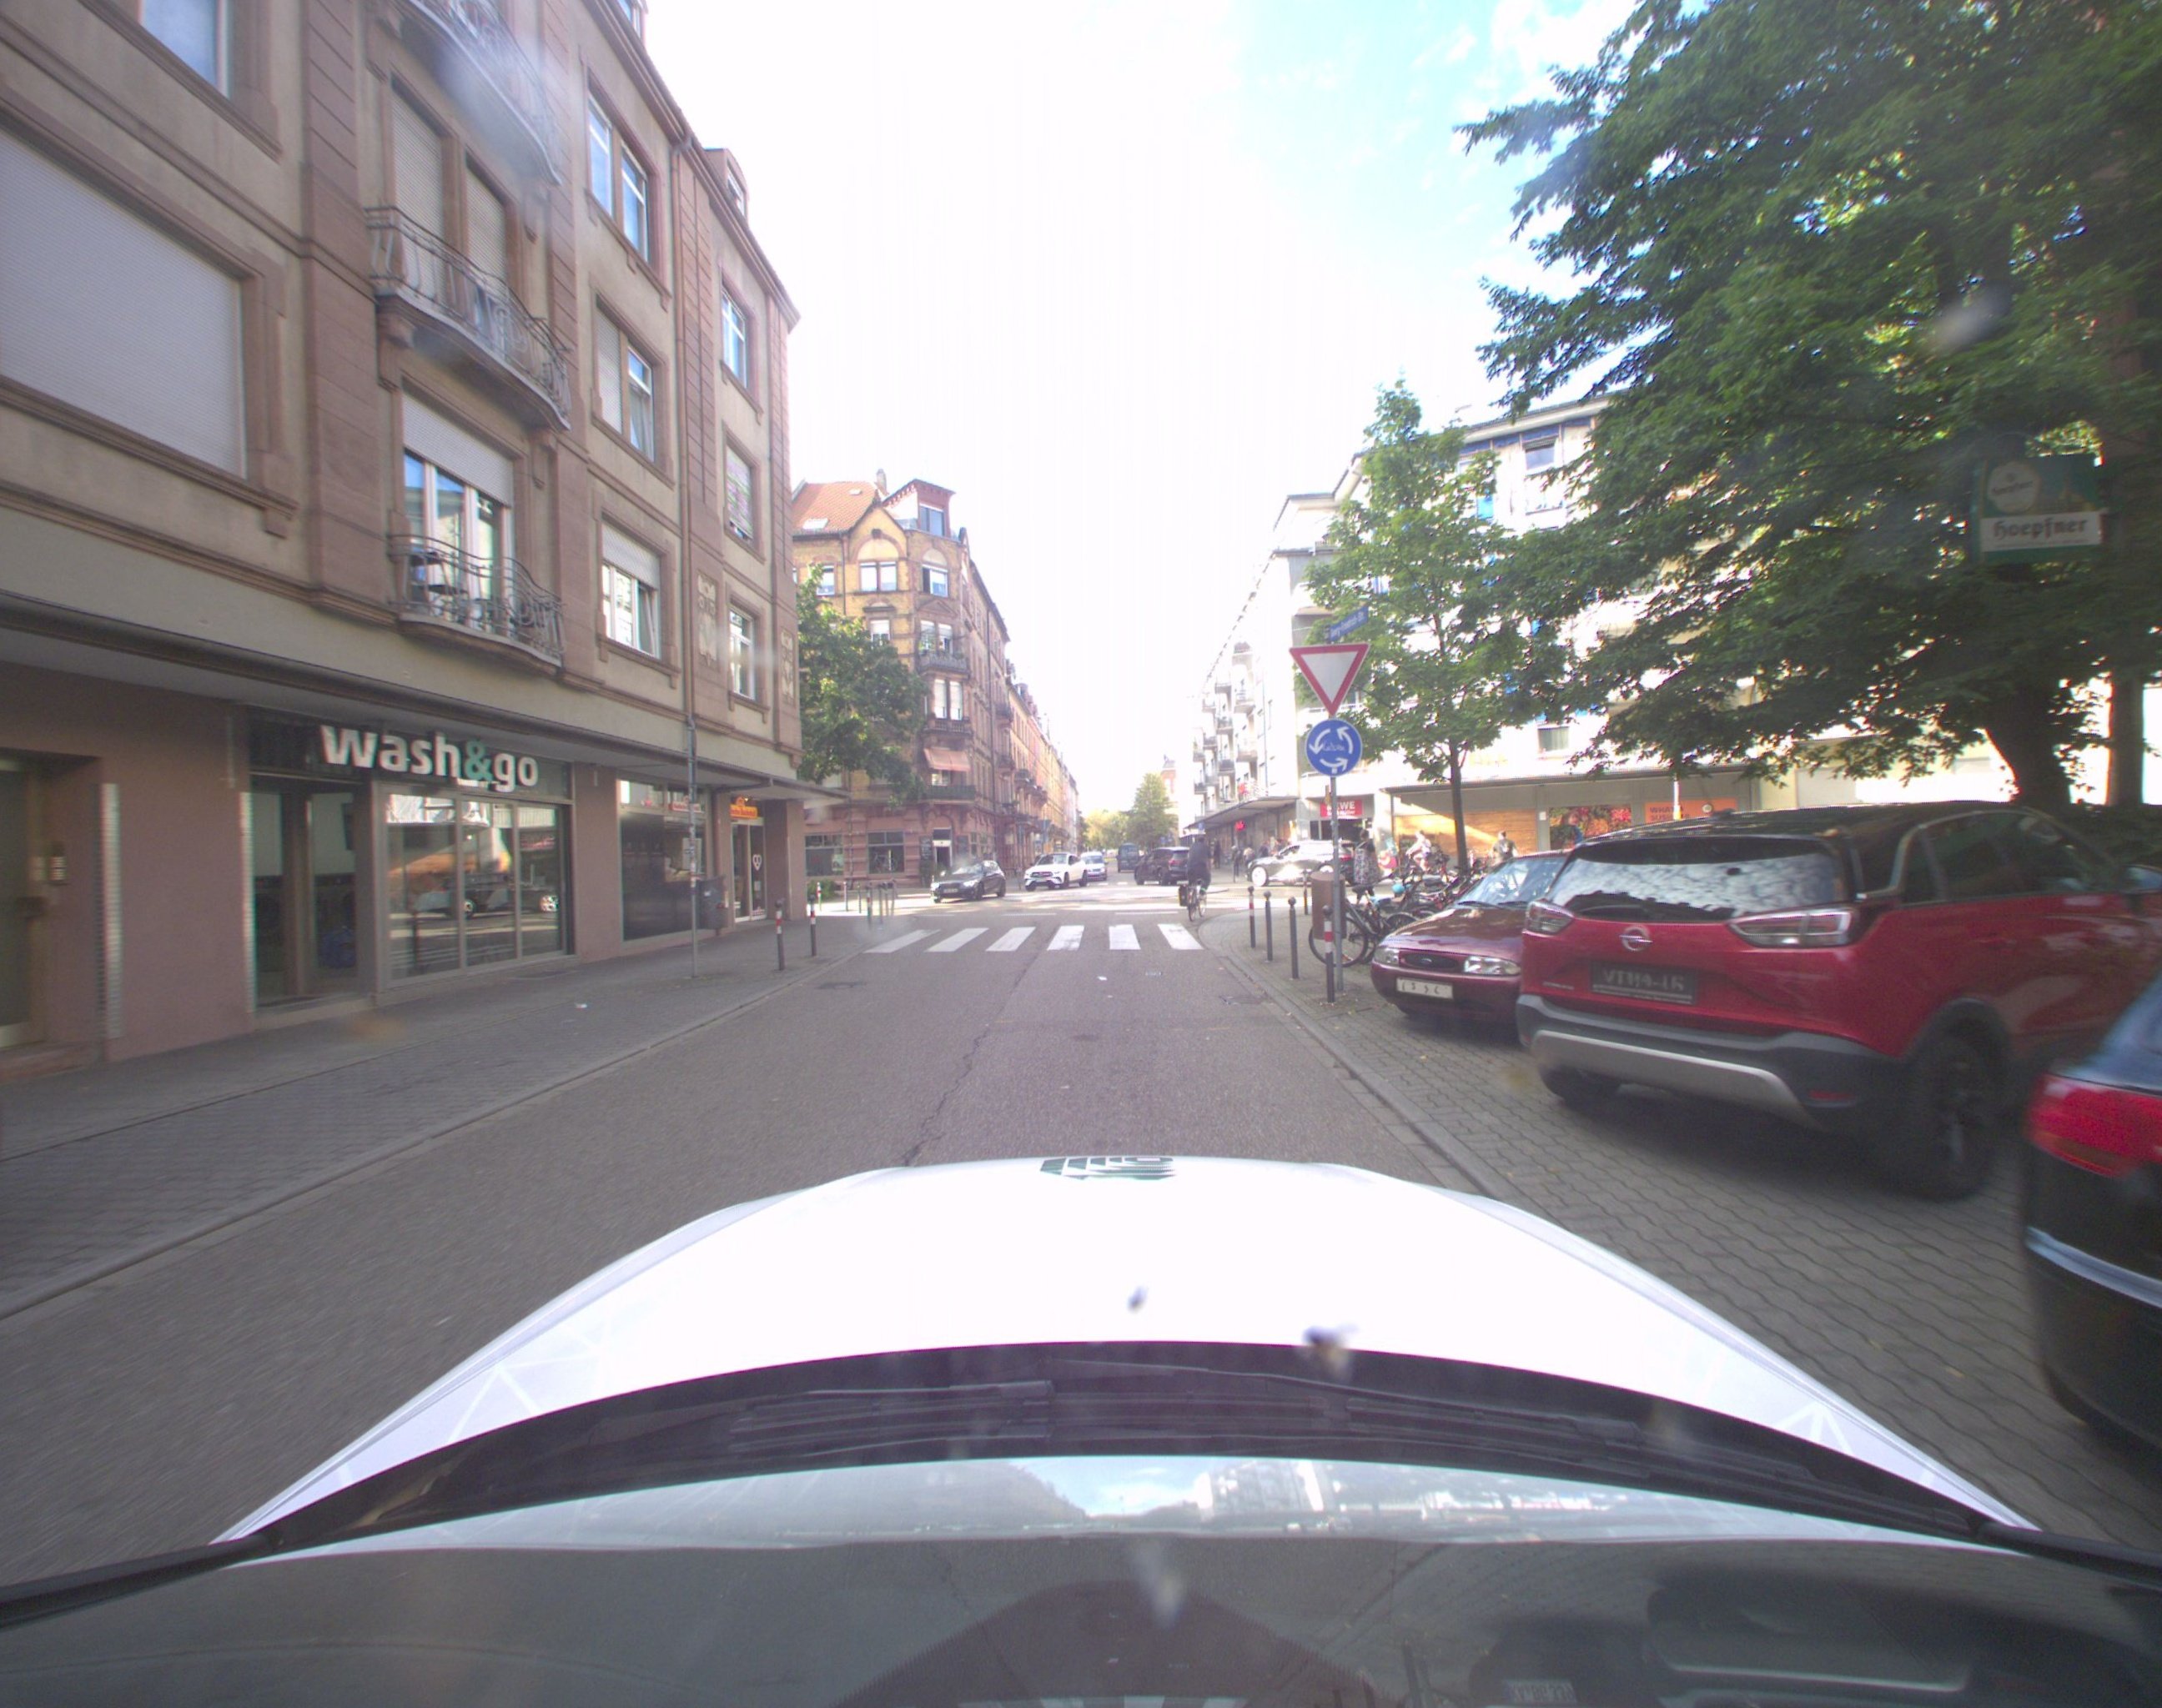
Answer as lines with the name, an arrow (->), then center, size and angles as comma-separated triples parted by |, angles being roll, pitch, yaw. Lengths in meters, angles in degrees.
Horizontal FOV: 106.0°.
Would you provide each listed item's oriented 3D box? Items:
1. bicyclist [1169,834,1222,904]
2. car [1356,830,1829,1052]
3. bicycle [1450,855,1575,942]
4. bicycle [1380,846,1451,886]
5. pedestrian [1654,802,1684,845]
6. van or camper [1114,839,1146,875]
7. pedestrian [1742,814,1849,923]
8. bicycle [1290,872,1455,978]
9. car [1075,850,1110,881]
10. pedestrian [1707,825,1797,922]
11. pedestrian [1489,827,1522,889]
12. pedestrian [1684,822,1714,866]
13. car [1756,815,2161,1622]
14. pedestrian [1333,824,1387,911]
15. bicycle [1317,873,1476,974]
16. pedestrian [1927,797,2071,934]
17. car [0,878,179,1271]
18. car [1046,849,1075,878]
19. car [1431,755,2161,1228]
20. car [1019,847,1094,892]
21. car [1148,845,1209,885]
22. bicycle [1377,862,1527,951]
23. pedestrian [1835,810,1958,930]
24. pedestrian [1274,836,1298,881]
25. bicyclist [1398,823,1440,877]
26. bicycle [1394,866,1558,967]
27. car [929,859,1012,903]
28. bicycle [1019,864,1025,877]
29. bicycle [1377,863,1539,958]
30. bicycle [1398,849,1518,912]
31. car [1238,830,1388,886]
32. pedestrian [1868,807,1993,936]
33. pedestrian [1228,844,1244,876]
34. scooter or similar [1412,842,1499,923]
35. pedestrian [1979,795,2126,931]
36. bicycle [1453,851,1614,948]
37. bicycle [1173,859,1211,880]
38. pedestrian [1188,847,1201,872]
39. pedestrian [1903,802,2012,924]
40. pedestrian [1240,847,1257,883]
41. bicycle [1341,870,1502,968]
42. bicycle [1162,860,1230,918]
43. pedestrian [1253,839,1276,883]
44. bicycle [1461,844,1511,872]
bicyclist -> 2.507, 0.334, 17.802 | 0.924, 1.484, 0.752 | -1, -1, 28
car -> 4.614, 0.593, 7.308 | 3.952, 1.457, 1.754 | -2, 0, -26
bicycle -> 5.621, 0.576, 10.685 | 0.337, 1.040, 1.443 | -5, 0, -27
bicycle -> 10.719, 0.384, 26.148 | 1.949, 1.199, 0.717 | -2, 0, 34
pedestrian -> 21.138, -1.087, 29.284 | 0.743, 1.479, 0.590 | -3, 0, 27
van or camper -> 4.312, 0.240, 72.372 | 2.523, 3.037, 4.458 | -2, 0, 0
pedestrian -> 9.709, 0.190, 11.090 | 0.795, 1.407, 0.702 | -2, 0, -2
bicycle -> 3.277, 0.773, 9.353 | 0.551, 1.040, 1.840 | -5, 0, -27
car -> 0.769, 0.695, 51.282 | 1.785, 1.790, 4.741 | -3, 0, 4
pedestrian -> 9.687, 0.272, 11.772 | 0.754, 1.342, 0.596 | -2, 0, -2
pedestrian -> 12.235, 0.125, 23.507 | 0.624, 1.739, 0.779 | -2, 0, 14
pedestrian -> 21.916, -0.358, 28.906 | 0.740, 1.550, 0.736 | 0, 1, 28
car -> 4.104, 0.577, 1.990 | 4.419, 1.457, 1.928 | -2, 0, -23
pedestrian -> 5.870, 0.273, 17.132 | 0.774, 1.780, 0.798 | -3, 0, 40
bicycle -> 3.675, 0.786, 9.666 | 0.462, 1.040, 1.840 | -5, 0, -27
pedestrian -> 10.029, 0.119, 8.926 | 0.670, 1.407, 0.758 | -2, 0, -2
car -> -5.006, 0.850, 1.438 | 1.986, 1.420, 4.246 | -2, 0, 2
car -> -1.496, 0.723, 62.012 | 1.987, 2.013, 4.000 | -3, 0, 0
car -> 4.382, 0.399, 4.681 | 4.361, 1.645, 1.807 | -5, 1, -24
car -> -1.054, 0.673, 38.297 | 1.927, 1.722, 4.872 | -3, 1, 17
car -> 4.273, 0.465, 36.272 | 1.989, 1.618, 3.995 | -2, 0, -4
bicycle -> 4.828, 0.675, 10.750 | 0.391, 1.040, 1.904 | -5, 0, -27
pedestrian -> 9.808, 0.185, 9.819 | 0.670, 1.358, 0.758 | -2, 0, -2
pedestrian -> 8.750, 0.198, 34.837 | 0.864, 1.851, 0.614 | -2, 0, 7
bicyclist -> 10.830, -0.125, 26.078 | 1.003, 1.668, 0.950 | -3, 0, 35
bicycle -> 4.530, 0.696, 9.506 | 0.348, 1.040, 1.842 | -5, 0, -25
car -> -3.931, 0.935, 29.586 | 1.739, 1.436, 4.223 | -1, -1, 10
bicycle -> -4.717, 1.314, 65.030 | 0.359, 0.947, 1.714 | -1, 0, -2
bicycle -> 4.634, 0.680, 10.164 | 0.446, 1.040, 1.889 | -5, 0, -27
bicycle -> 7.052, 0.496, 15.307 | 1.914, 1.094, 0.654 | -2, 0, 6
car -> 8.166, 0.166, 29.056 | 2.053, 1.724, 4.790 | -5, 1, -38
pedestrian -> 9.331, 0.184, 8.969 | 0.667, 1.351, 0.628 | -2, 0, -2
pedestrian -> 8.254, 0.321, 43.348 | 0.740, 1.629, 0.815 | -2, 0, 13
scooter or similar -> 6.200, 0.471, 13.484 | 1.233, 1.274, 0.669 | -2, 0, 26
pedestrian -> 10.676, 0.098, 8.977 | 0.670, 1.407, 0.758 | -2, 0, -2
bicycle -> 5.557, 0.556, 10.135 | 0.355, 1.074, 1.782 | -5, 0, -27
bicycle -> 6.059, 0.829, 44.482 | 1.991, 1.045, 0.533 | -3, 0, 4
pedestrian -> 8.547, 0.423, 61.173 | 0.724, 1.864, 1.067 | -3, 0, 17
pedestrian -> 10.532, 0.105, 9.806 | 0.572, 1.407, 0.636 | -2, 0, -5
pedestrian -> 8.245, 0.532, 40.061 | 0.735, 1.712, 0.736 | -2, 0, 13
bicycle -> 4.030, 0.748, 9.834 | 0.348, 1.040, 2.001 | -5, 0, -25
bicycle -> 2.569, 0.730, 17.925 | 0.659, 1.178, 2.512 | -1, 0, 28
pedestrian -> 7.870, 0.283, 34.949 | 0.864, 1.851, 0.614 | -2, 0, 7
bicycle -> 15.875, 0.174, 31.929 | 1.663, 1.050, 0.460 | -3, 0, 42
